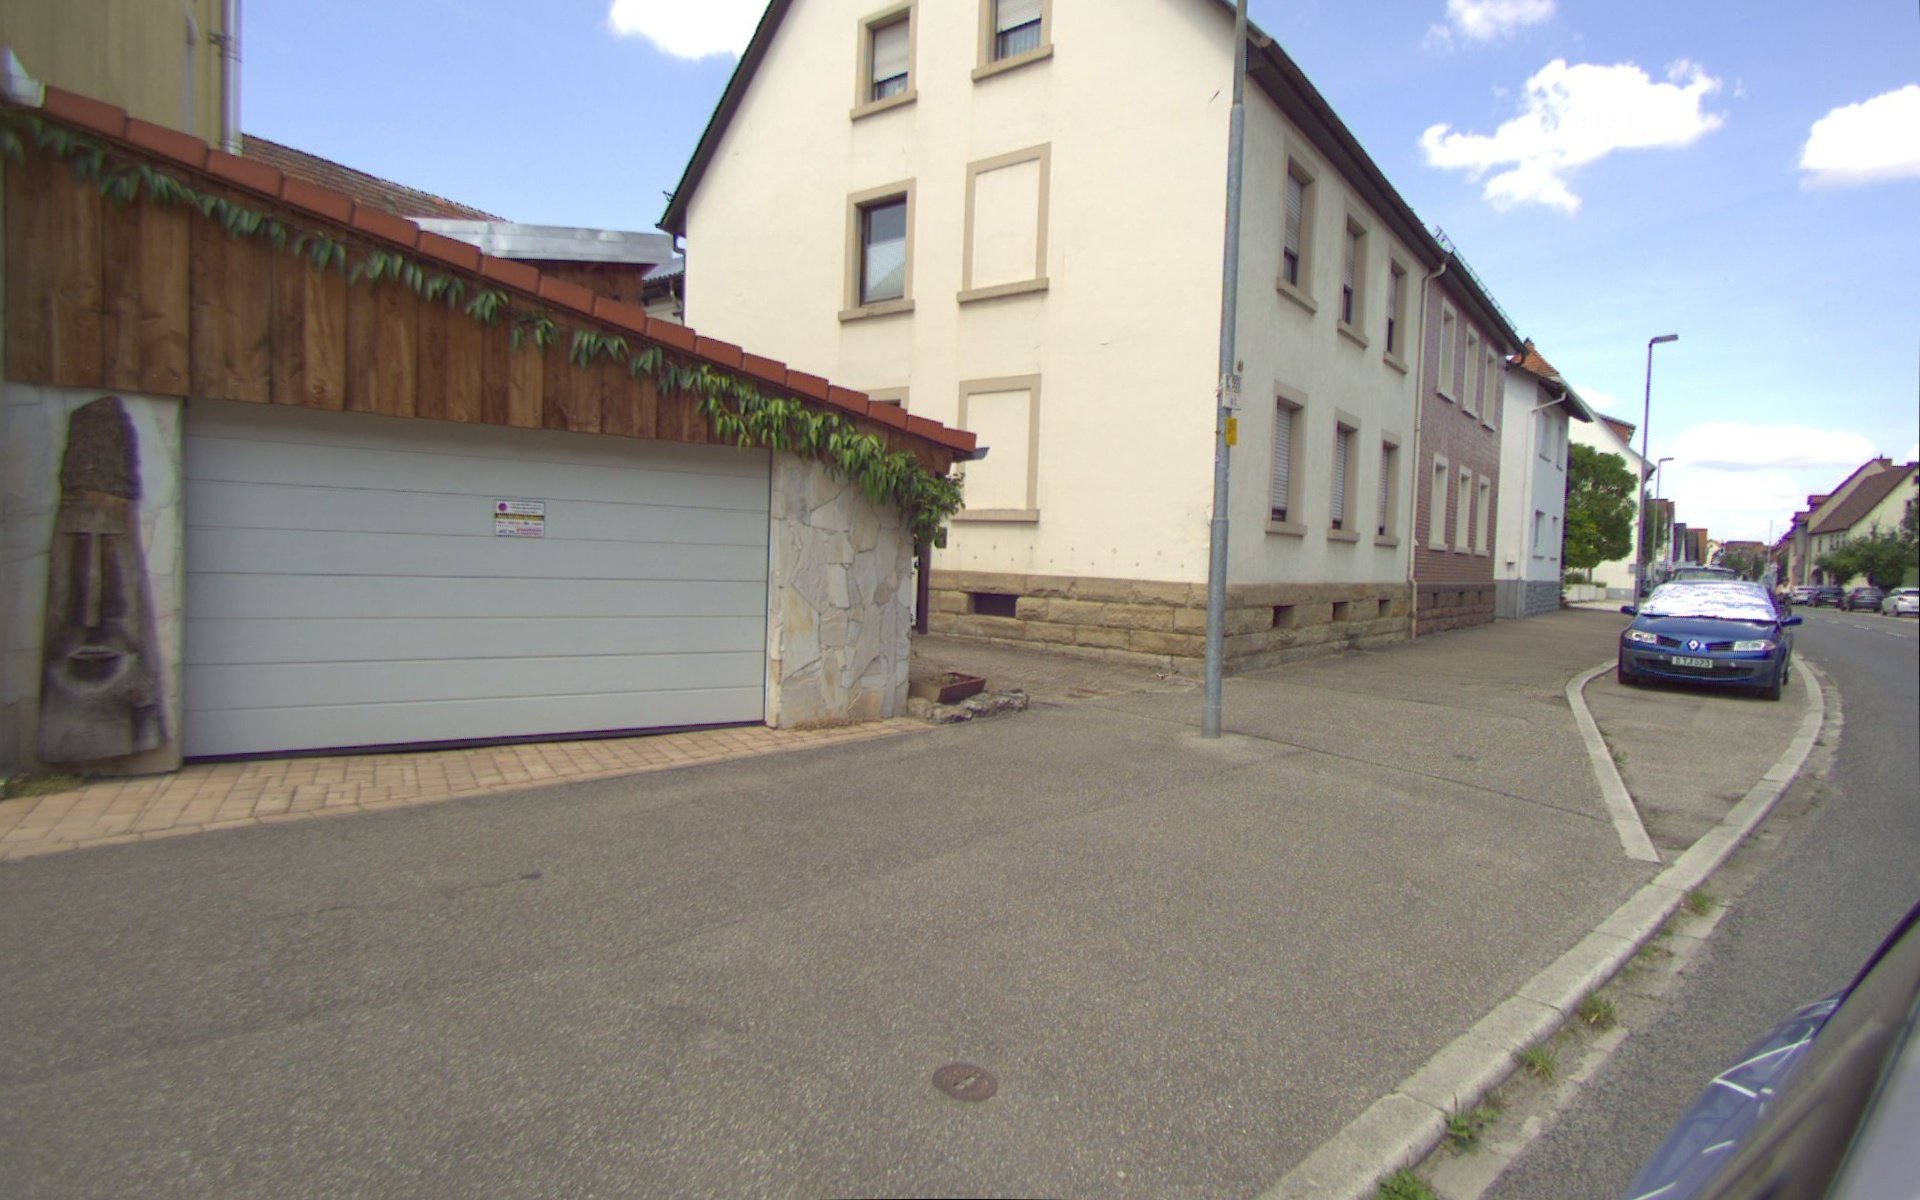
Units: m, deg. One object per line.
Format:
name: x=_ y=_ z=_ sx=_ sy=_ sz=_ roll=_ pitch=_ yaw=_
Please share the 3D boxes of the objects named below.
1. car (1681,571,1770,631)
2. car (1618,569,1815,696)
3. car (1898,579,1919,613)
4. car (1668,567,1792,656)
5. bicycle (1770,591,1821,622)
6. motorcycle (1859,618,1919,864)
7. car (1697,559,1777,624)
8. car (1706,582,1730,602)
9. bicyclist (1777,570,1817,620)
car: x=21.835 y=-0.020 z=29.005 sx=1.733 sy=1.522 sz=4.502 roll=3 pitch=3 yaw=34
car: x=10.547 y=0.326 z=13.998 sx=1.723 sy=1.402 sz=3.939 roll=4 pitch=5 yaw=43
car: x=48.138 y=-0.205 z=50.459 sx=1.676 sy=1.548 sz=3.451 roll=2 pitch=3 yaw=39
car: x=15.489 y=0.225 z=20.280 sx=1.766 sy=1.549 sz=3.942 roll=3 pitch=1 yaw=40
bicycle: x=29.384 y=0.228 z=35.577 sx=1.888 sy=1.024 sz=0.934 roll=1 pitch=1 yaw=-36
motorcycle: x=5.973 y=0.738 z=5.407 sx=2.059 sy=1.256 sz=0.987 roll=1 pitch=0 yaw=-24
car: x=25.549 y=-0.368 z=33.377 sx=1.921 sy=1.939 sz=5.178 roll=2 pitch=3 yaw=37
car: x=83.179 y=-0.913 z=111.018 sx=1.990 sy=2.038 sz=3.946 roll=2 pitch=3 yaw=38
bicyclist: x=29.410 y=-0.187 z=35.561 sx=0.747 sy=1.709 sz=0.910 roll=-1 pitch=2 yaw=-35
